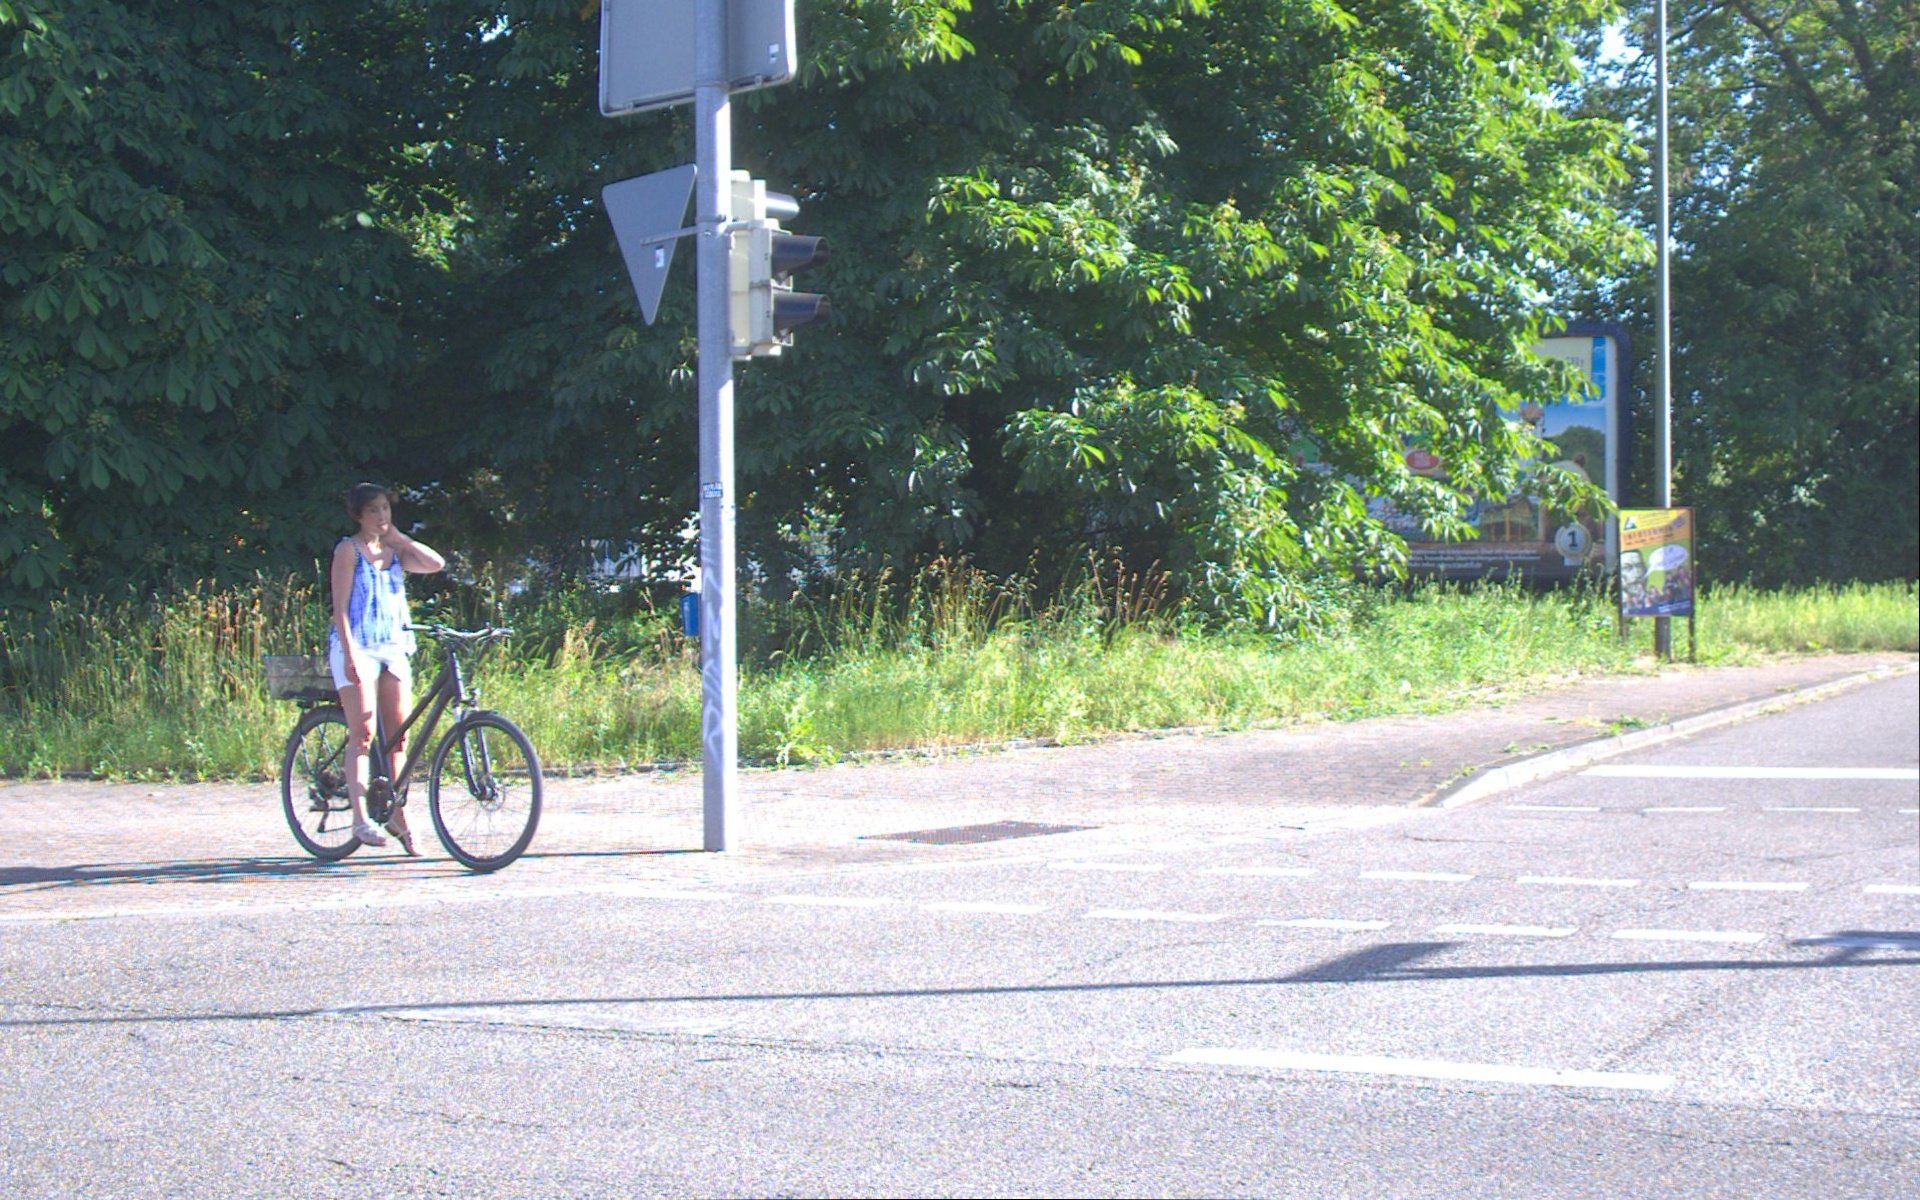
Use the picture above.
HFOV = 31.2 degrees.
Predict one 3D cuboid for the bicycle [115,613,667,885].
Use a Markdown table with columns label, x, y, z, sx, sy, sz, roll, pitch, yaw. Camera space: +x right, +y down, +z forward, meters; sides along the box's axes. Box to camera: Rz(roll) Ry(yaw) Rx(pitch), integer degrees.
| label | x | y | z | sx | sy | sz | roll | pitch | yaw |
| --- | --- | --- | --- | --- | --- | --- | --- | --- | --- |
| bicycle | -2.686 | 0.635 | 15.907 | 2.951 | 1.122 | 0.901 | 1 | 0 | 43 |

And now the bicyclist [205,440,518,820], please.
| label | x | y | z | sx | sy | sz | roll | pitch | yaw |
| --- | --- | --- | --- | --- | --- | --- | --- | --- | --- |
| bicyclist | -2.793 | 0.129 | 16.014 | 1.189 | 1.687 | 0.890 | 1 | 0 | 43 |
